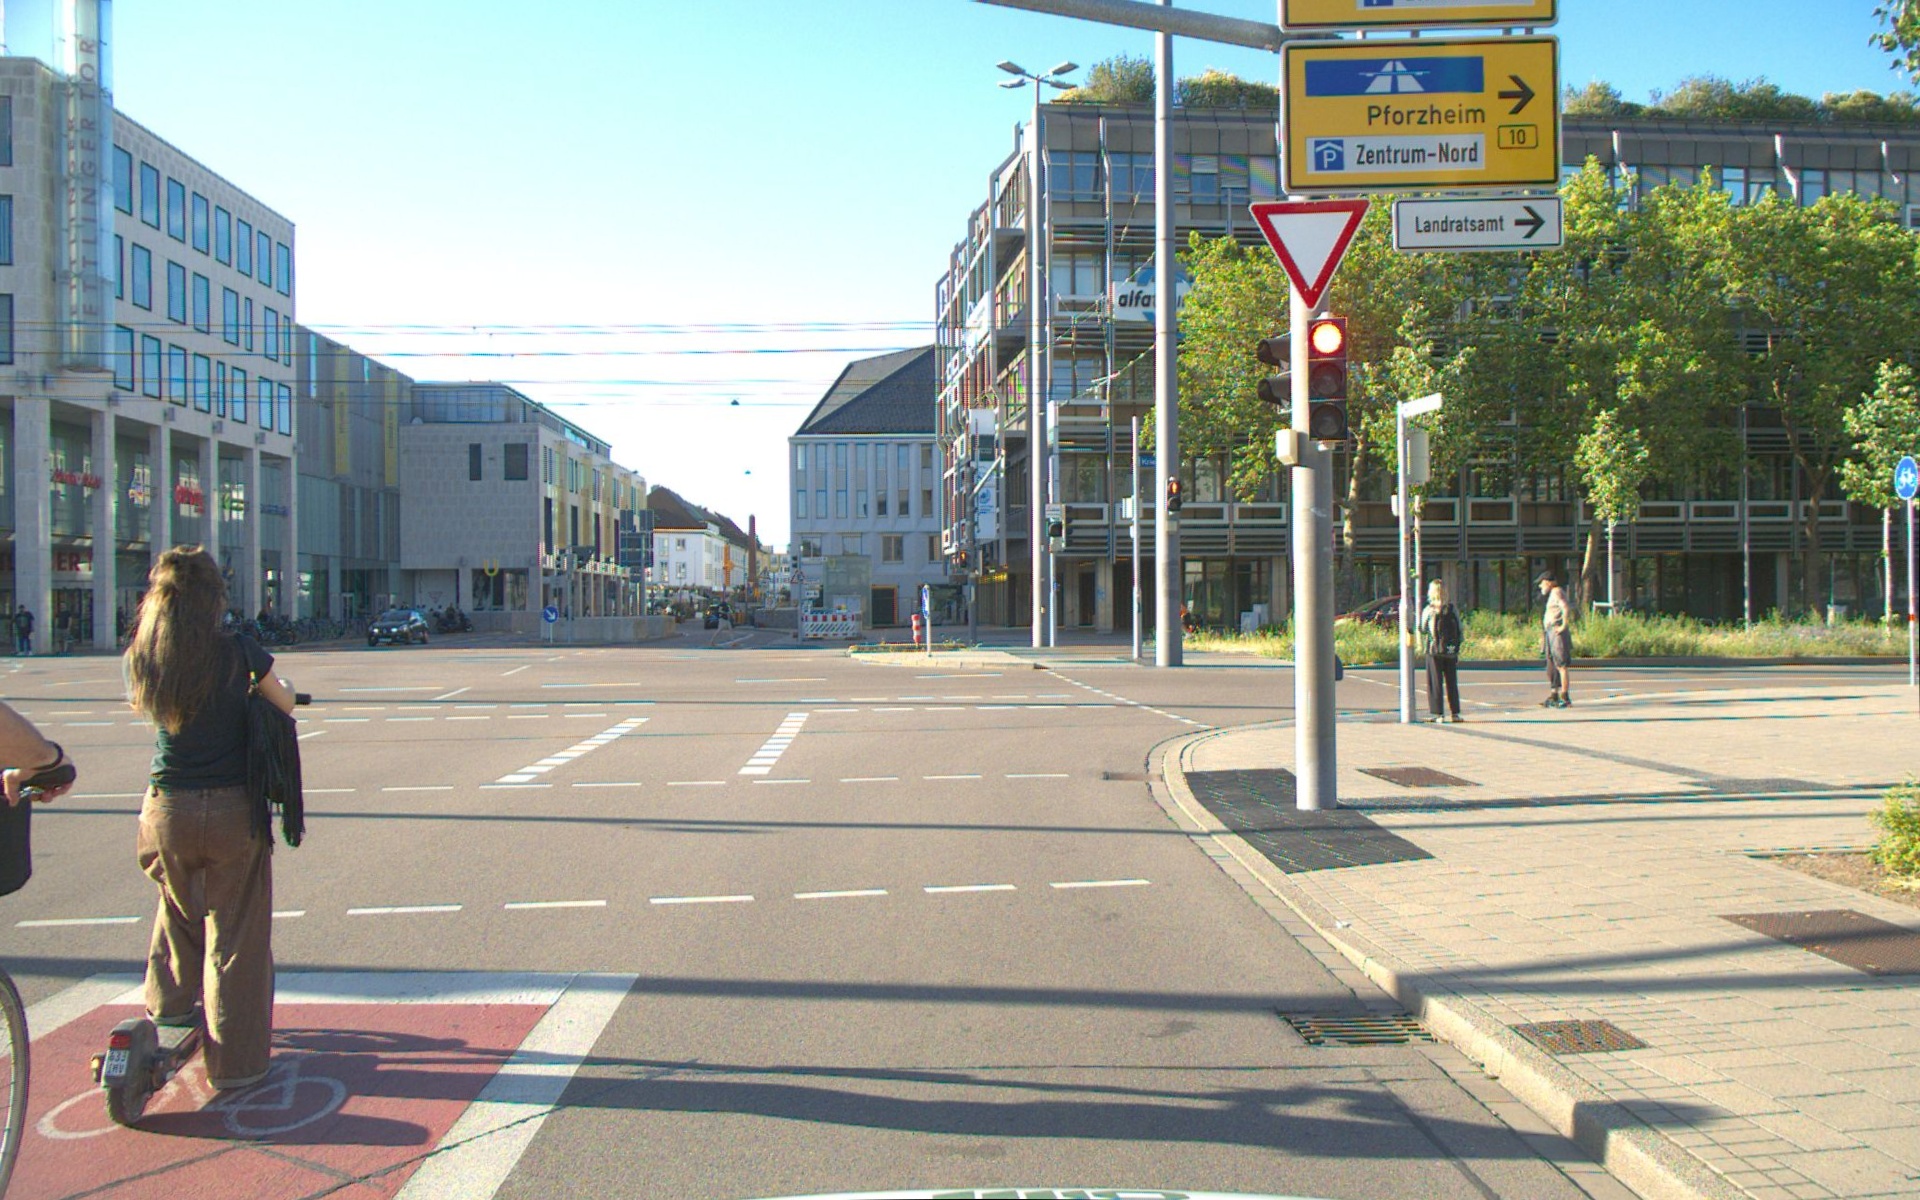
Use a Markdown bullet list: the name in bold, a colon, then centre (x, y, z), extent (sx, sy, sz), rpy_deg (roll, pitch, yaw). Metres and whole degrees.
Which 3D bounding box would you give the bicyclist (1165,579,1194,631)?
- **bicyclist**: centre (6.248, 0.140, 47.108), extent (0.698, 1.462, 0.496), rpy_deg (1, -1, -10)

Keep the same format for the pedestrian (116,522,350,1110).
- **pedestrian**: centre (-2.186, 0.615, 5.031), extent (0.540, 1.661, 0.569), rpy_deg (1, -1, -16)

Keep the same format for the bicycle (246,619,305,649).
- **bicycle**: centre (-29.290, 1.436, 70.759), extent (2.260, 1.244, 0.611), rpy_deg (0, 0, -3)

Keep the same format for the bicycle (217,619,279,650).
- **bicycle**: centre (-29.333, 1.424, 68.119), extent (2.260, 1.244, 0.611), rpy_deg (0, 0, -3)

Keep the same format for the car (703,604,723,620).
- **car**: centre (-23.182, 1.108, 155.085), extent (1.751, 1.477, 3.993), rpy_deg (1, 0, -7)

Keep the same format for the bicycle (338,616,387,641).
- **bicycle**: centre (-30.815, 1.472, 85.341), extent (2.260, 1.244, 0.611), rpy_deg (0, 0, -3)

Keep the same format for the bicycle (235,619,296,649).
- **bicycle**: centre (-29.125, 1.433, 69.405), extent (2.260, 1.244, 0.611), rpy_deg (0, 0, -3)

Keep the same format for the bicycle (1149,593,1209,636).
- **bicycle**: centre (6.223, 0.418, 47.084), extent (1.615, 1.175, 0.496), rpy_deg (1, -1, -10)

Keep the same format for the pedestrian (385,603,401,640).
- **pedestrian**: centre (-26.901, 1.014, 78.472), extent (0.639, 1.749, 0.447), rpy_deg (0, 0, -25)

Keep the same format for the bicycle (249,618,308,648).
- **bicycle**: centre (-29.503, 1.436, 71.636), extent (2.260, 1.244, 0.611), rpy_deg (0, 0, -3)

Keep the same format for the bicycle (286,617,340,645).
- **bicycle**: centre (-30.064, 1.448, 76.851), extent (2.260, 1.244, 0.611), rpy_deg (0, 0, -3)

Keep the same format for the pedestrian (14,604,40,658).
- **pedestrian**: centre (-32.862, 1.078, 58.266), extent (0.787, 1.876, 0.856), rpy_deg (0, 0, -29)

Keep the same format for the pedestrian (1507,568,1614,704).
- **pedestrian**: centre (7.686, 0.460, 21.209), extent (0.866, 1.694, 0.958), rpy_deg (1, -1, -22)

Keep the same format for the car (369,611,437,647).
- **car**: centre (-23.377, 1.205, 69.487), extent (1.597, 1.365, 3.998), rpy_deg (-3, 0, -3)

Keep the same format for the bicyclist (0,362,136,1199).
- **bicyclist**: centre (-1.977, 0.463, 2.855), extent (0.647, 1.750, 0.865), rpy_deg (1, -1, -1)

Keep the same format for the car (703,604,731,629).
- **car**: centre (-15.825, 1.053, 107.949), extent (1.705, 1.558, 3.849), rpy_deg (1, 0, -8)

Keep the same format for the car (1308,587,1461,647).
- **car**: centre (11.860, 0.457, 46.327), extent (3.812, 1.613, 1.656), rpy_deg (-1, 0, -8)

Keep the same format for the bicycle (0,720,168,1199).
- **bicycle**: centre (-2.080, 0.867, 2.930), extent (0.475, 1.176, 1.831), rpy_deg (1, 0, -1)

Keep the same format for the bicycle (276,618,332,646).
- **bicycle**: centre (-29.603, 1.447, 74.701), extent (2.260, 1.244, 0.611), rpy_deg (0, 0, -3)

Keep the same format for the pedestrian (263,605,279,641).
- **pedestrian**: centre (-32.597, 1.080, 78.273), extent (0.544, 1.709, 0.606), rpy_deg (1, 0, -11)

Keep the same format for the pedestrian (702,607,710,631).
- **pedestrian**: centre (-17.916, 1.355, 116.867), extent (0.511, 1.709, 0.582), rpy_deg (1, 0, -8)

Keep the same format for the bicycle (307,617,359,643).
- **bicycle**: centre (-30.333, 1.457, 80.054), extent (2.260, 1.244, 0.611), rpy_deg (0, 0, -3)

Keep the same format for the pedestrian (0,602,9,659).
- **pedestrian**: centre (-33.118, 1.037, 56.790), extent (0.706, 1.918, 0.780), rpy_deg (1, -1, -28)

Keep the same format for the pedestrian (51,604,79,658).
- **pedestrian**: centre (-31.170, 1.070, 57.606), extent (0.788, 1.876, 0.854), rpy_deg (0, 0, -33)

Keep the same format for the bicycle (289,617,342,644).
- **bicycle**: centre (-30.713, 1.446, 78.821), extent (2.260, 1.244, 0.611), rpy_deg (0, 0, -3)

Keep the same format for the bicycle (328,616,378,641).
- **bicycle**: centre (-30.927, 1.465, 84.270), extent (2.260, 1.244, 0.611), rpy_deg (0, 0, -3)

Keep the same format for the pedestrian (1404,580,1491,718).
- **pedestrian**: centre (5.517, 0.547, 18.752), extent (0.772, 1.518, 0.644), rpy_deg (1, -1, -1)

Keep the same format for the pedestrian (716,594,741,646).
- **pedestrian**: centre (-8.561, 0.739, 61.104), extent (0.628, 1.923, 0.791), rpy_deg (1, -1, 14)

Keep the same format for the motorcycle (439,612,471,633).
- **motorcycle**: centre (-29.760, 1.325, 97.479), extent (1.775, 1.228, 0.509), rpy_deg (1, 0, -16)

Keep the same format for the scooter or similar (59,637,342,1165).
- **scooter or similar**: centre (-2.176, 0.783, 4.863), extent (0.538, 1.316, 1.189), rpy_deg (1, 0, -15)

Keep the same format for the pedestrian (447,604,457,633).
- **pedestrian**: centre (-30.098, 1.071, 98.081), extent (0.512, 1.709, 0.581), rpy_deg (1, 0, -14)
